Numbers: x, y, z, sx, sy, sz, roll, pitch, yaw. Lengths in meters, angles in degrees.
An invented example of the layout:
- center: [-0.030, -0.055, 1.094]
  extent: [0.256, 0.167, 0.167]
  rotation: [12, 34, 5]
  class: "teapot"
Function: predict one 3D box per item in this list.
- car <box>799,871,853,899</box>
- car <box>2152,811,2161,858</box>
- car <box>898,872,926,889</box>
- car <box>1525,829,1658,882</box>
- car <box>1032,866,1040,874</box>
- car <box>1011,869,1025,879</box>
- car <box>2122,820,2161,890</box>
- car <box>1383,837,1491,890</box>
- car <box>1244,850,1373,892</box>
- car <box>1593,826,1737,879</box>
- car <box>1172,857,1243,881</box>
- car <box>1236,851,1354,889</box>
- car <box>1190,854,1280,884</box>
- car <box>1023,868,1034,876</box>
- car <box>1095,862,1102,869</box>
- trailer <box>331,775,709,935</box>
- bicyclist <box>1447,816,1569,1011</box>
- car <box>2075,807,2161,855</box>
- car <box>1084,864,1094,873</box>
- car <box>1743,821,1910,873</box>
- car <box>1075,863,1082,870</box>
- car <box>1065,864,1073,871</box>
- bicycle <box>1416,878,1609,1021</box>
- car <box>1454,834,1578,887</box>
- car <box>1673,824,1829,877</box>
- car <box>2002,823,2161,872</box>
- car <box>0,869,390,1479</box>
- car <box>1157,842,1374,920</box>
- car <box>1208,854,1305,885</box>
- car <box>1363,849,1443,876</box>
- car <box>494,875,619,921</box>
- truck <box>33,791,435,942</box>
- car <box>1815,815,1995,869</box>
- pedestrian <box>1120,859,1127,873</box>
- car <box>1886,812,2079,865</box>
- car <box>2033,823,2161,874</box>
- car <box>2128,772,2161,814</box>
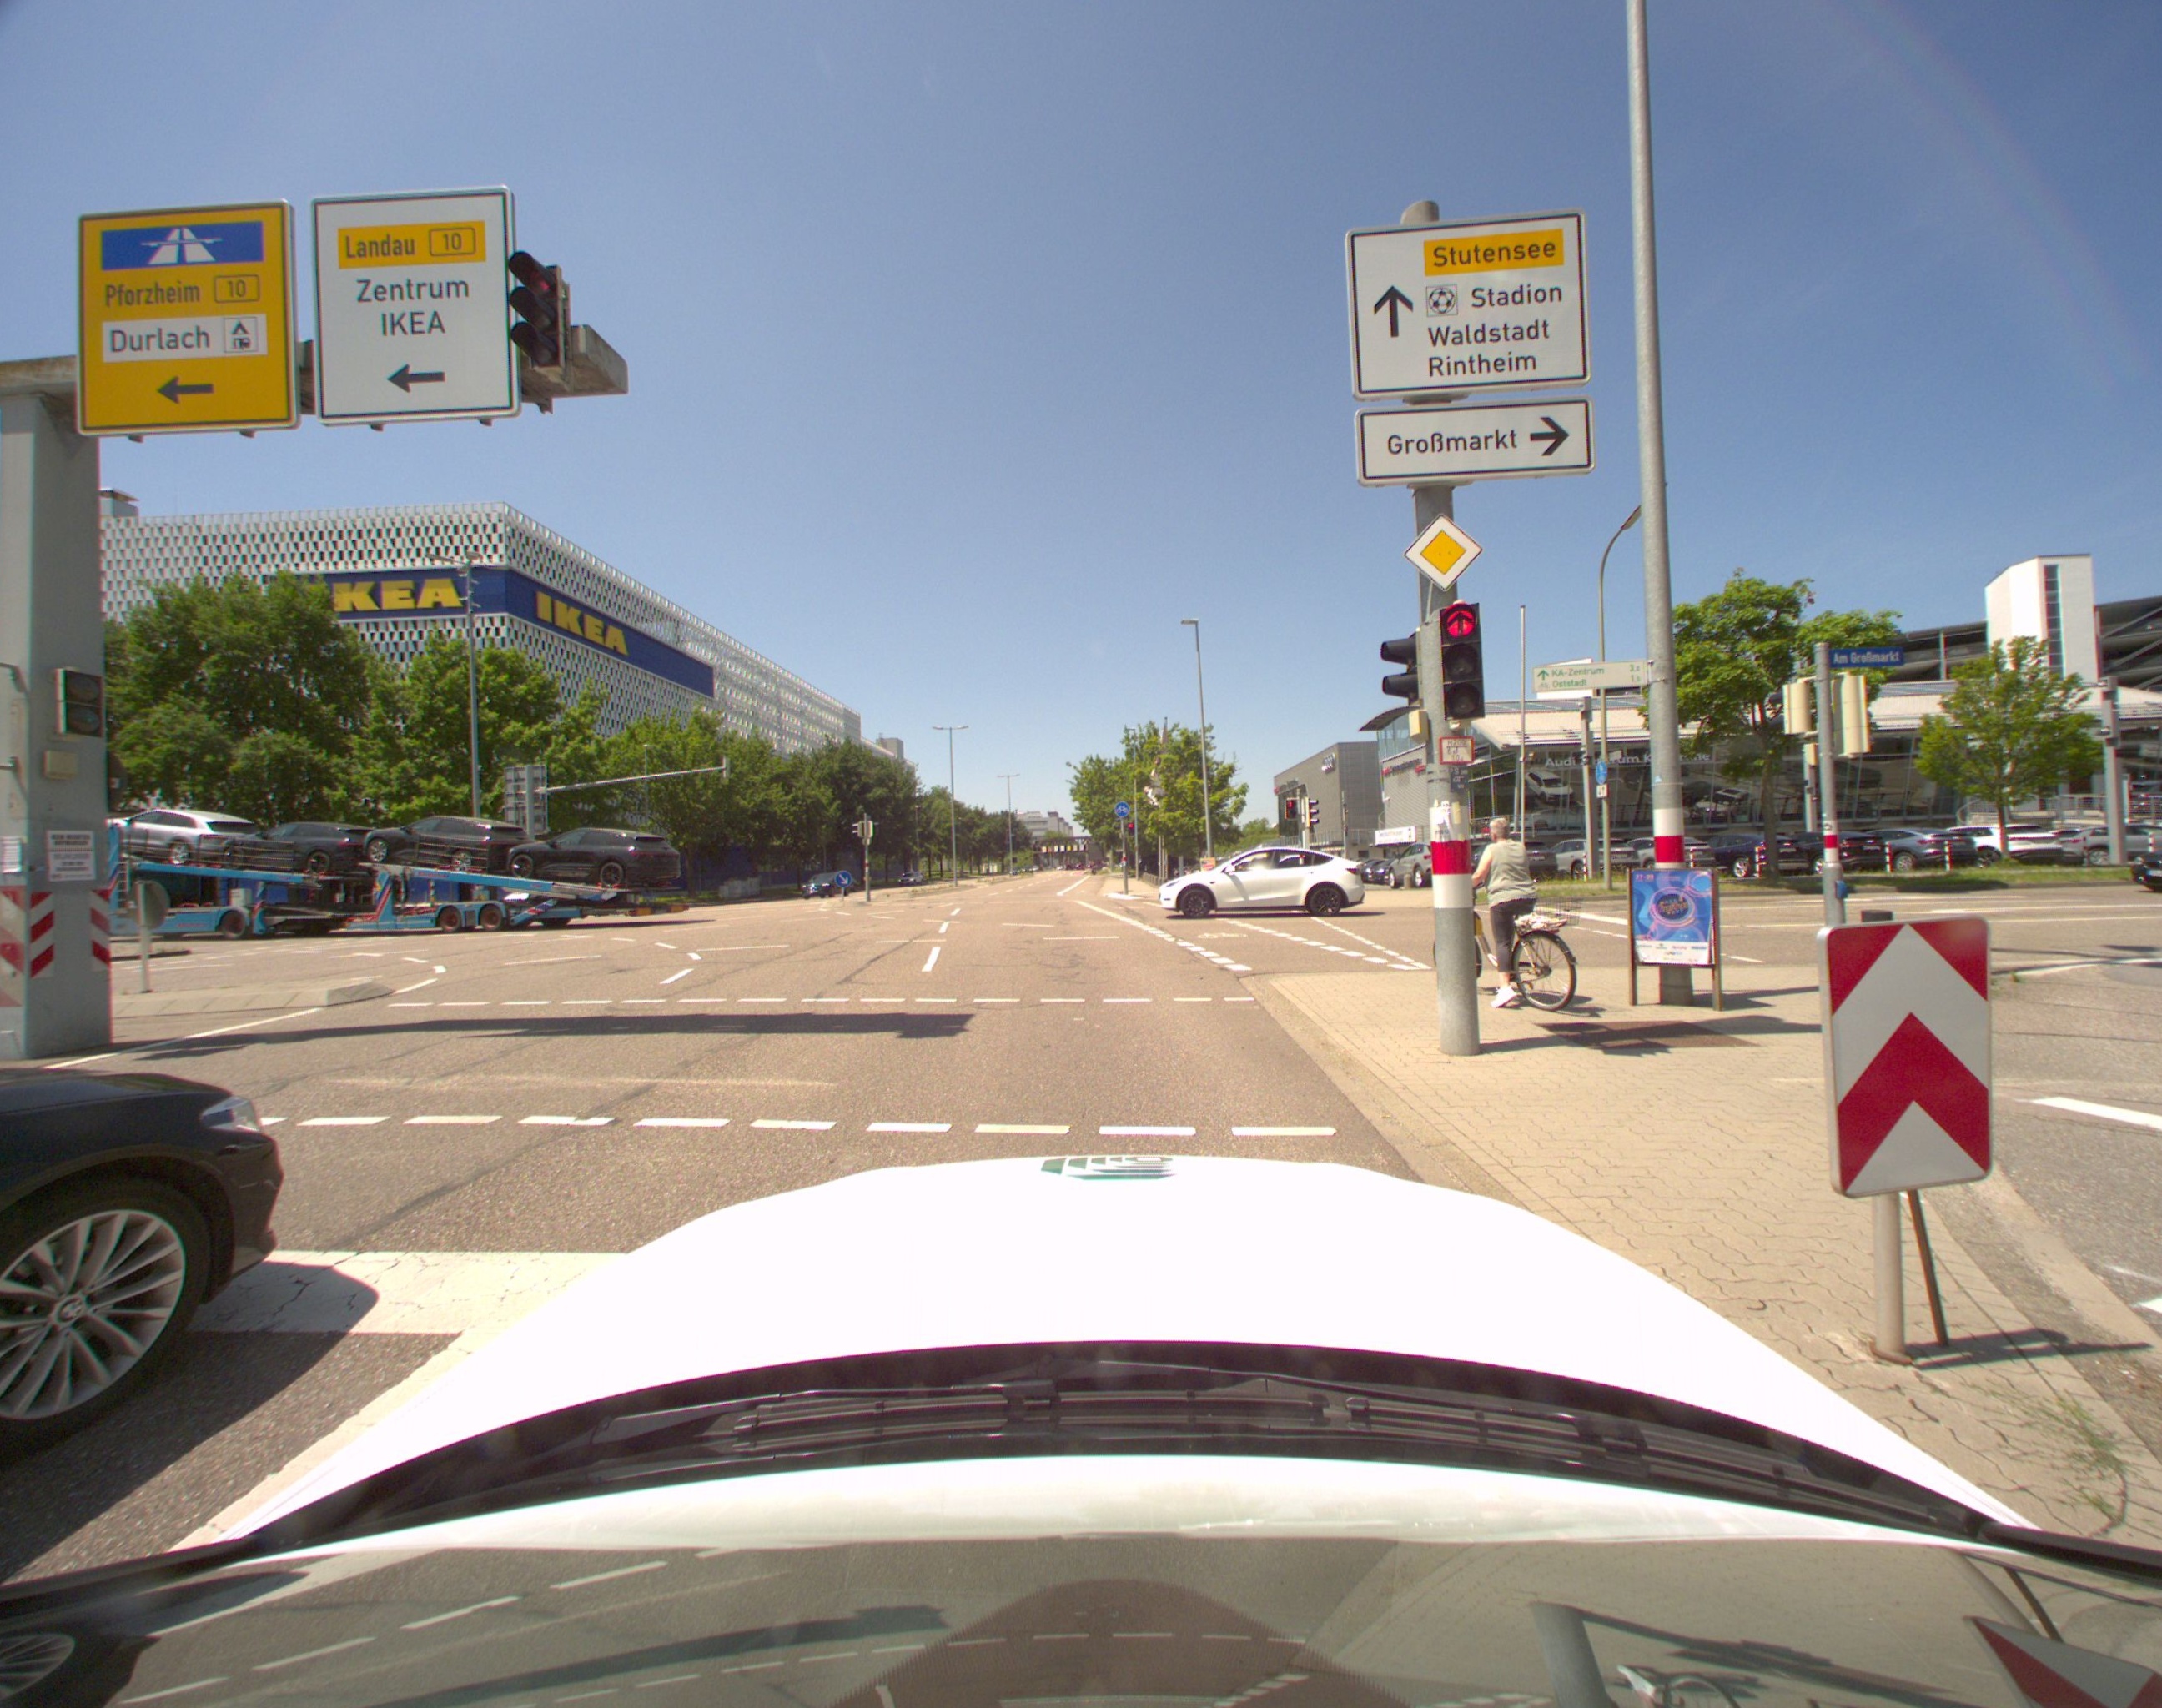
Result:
- center: [-16.378, 1.943, 52.452]
  extent: [1.868, 1.598, 4.497]
  rotation: [-3, -1, 2]
  class: "car"
- center: [39.424, -0.762, 26.816]
  extent: [4.705, 1.640, 1.844]
  rotation: [-3, 0, 24]
  class: "car"
- center: [-18.874, 2.936, 90.894]
  extent: [1.918, 1.665, 4.093]
  rotation: [-3, -1, 4]
  class: "car"
- center: [17.940, 0.039, 28.899]
  extent: [1.986, 1.639, 4.443]
  rotation: [-3, 0, 2]
  class: "car"
- center: [-10.671, 3.814, 193.662]
  extent: [1.645, 1.653, 4.160]
  rotation: [-2, -1, -2]
  class: "car"
- center: [-10.341, 3.273, 133.638]
  extent: [1.725, 1.427, 3.707]
  rotation: [-4, -1, 2]
  class: "car"
- center: [23.829, -0.053, 15.917]
  extent: [4.194, 1.411, 1.678]
  rotation: [-2, 0, 12]
  class: "car"
- center: [12.416, 0.310, 28.740]
  extent: [1.986, 1.640, 4.270]
  rotation: [-2, 0, 2]
  class: "car"
- center: [9.172, 0.667, 33.129]
  extent: [4.721, 1.457, 2.002]
  rotation: [-2, 0, 3]
  class: "car"
- center: [20.336, -0.050, 28.647]
  extent: [1.878, 1.639, 4.526]
  rotation: [-3, 0, 2]
  class: "car"
- center: [9.098, 1.091, 58.789]
  extent: [4.726, 1.457, 2.000]
  rotation: [-3, 0, 0]
  class: "car"
- center: [9.333, 0.710, 35.837]
  extent: [4.721, 1.457, 2.002]
  rotation: [-2, -2, 3]
  class: "car"
- center: [8.751, 0.847, 46.482]
  extent: [4.726, 1.457, 2.000]
  rotation: [-2, 0, 0]
  class: "car"
- center: [-10.137, 3.385, 156.469]
  extent: [1.678, 1.411, 3.666]
  rotation: [-3, -1, 2]
  class: "car"
- center: [4.784, 3.084, 220.952]
  extent: [1.765, 1.728, 4.001]
  rotation: [-3, -1, 2]
  class: "car"
- center: [-16.476, 0.085, 24.194]
  extent: [9.556, 4.081, 3.102]
  rotation: [-2, 0, 8]
  class: "trailer"
- center: [4.022, 0.532, 7.721]
  extent: [0.732, 1.749, 0.753]
  rotation: [-1, 0, -3]
  class: "bicyclist"
- center: [46.778, -1.035, 35.664]
  extent: [3.728, 2.014, 1.866]
  rotation: [-2, -1, 11]
  class: "car"
- center: [1.065, 1.863, 105.563]
  extent: [1.133, 1.042, 2.309]
  rotation: [-2, -1, 2]
  class: "car"
- center: [25.818, -0.225, 28.456]
  extent: [1.821, 1.640, 4.476]
  rotation: [-1, 0, 1]
  class: "car"
- center: [-0.683, 3.313, 220.477]
  extent: [1.765, 1.728, 4.001]
  rotation: [-3, -1, 2]
  class: "car"
- center: [-3.263, 3.722, 224.778]
  extent: [1.765, 1.728, 4.001]
  rotation: [-3, -1, 2]
  class: "car"
- center: [4.051, 0.835, 7.859]
  extent: [0.784, 1.127, 1.919]
  rotation: [-1, 0, -2]
  class: "bicycle"
- center: [15.125, 0.200, 28.643]
  extent: [1.986, 1.639, 4.559]
  rotation: [-2, 0, 2]
  class: "car"
- center: [23.193, -0.120, 28.458]
  extent: [1.821, 1.639, 4.476]
  rotation: [-3, 0, 2]
  class: "car"
- center: [40.449, -0.245, 32.995]
  extent: [3.720, 1.772, 1.781]
  rotation: [-3, -1, 32]
  class: "car"
- center: [-3.558, 0.797, 0.767]
  extent: [1.793, 1.466, 4.623]
  rotation: [-1, 0, 1]
  class: "car"
- center: [4.191, 0.617, 19.041]
  extent: [4.654, 1.588, 2.004]
  rotation: [-2, -1, 7]
  class: "car"
- center: [9.369, 0.803, 43.741]
  extent: [4.726, 1.457, 2.000]
  rotation: [-2, 0, 0]
  class: "car"
- center: [19.285, 0.479, 48.898]
  extent: [4.076, 1.460, 1.720]
  rotation: [-2, 0, 2]
  class: "car"
- center: [-25.843, 2.132, 40.312]
  extent: [1.974, 2.008, 4.793]
  rotation: [-3, -1, 29]
  class: "car"
- center: [-26.478, 0.436, 25.637]
  extent: [10.556, 4.082, 3.108]
  rotation: [-2, 0, 8]
  class: "truck"
- center: [28.548, -0.393, 28.457]
  extent: [1.821, 1.639, 4.476]
  rotation: [-3, 0, 2]
  class: "car"
- center: [4.761, 1.357, 90.727]
  extent: [0.665, 1.510, 0.736]
  rotation: [-2, -1, 1]
  class: "pedestrian"
- center: [31.217, -0.500, 28.444]
  extent: [1.821, 1.639, 4.476]
  rotation: [-3, 0, 2]
  class: "car"
- center: [39.167, -0.221, 30.799]
  extent: [3.665, 1.777, 1.759]
  rotation: [-3, -1, 28]
  class: "car"
- center: [54.861, -3.102, 39.831]
  extent: [1.989, 2.014, 3.995]
  rotation: [-2, -1, -3]
  class: "car"
